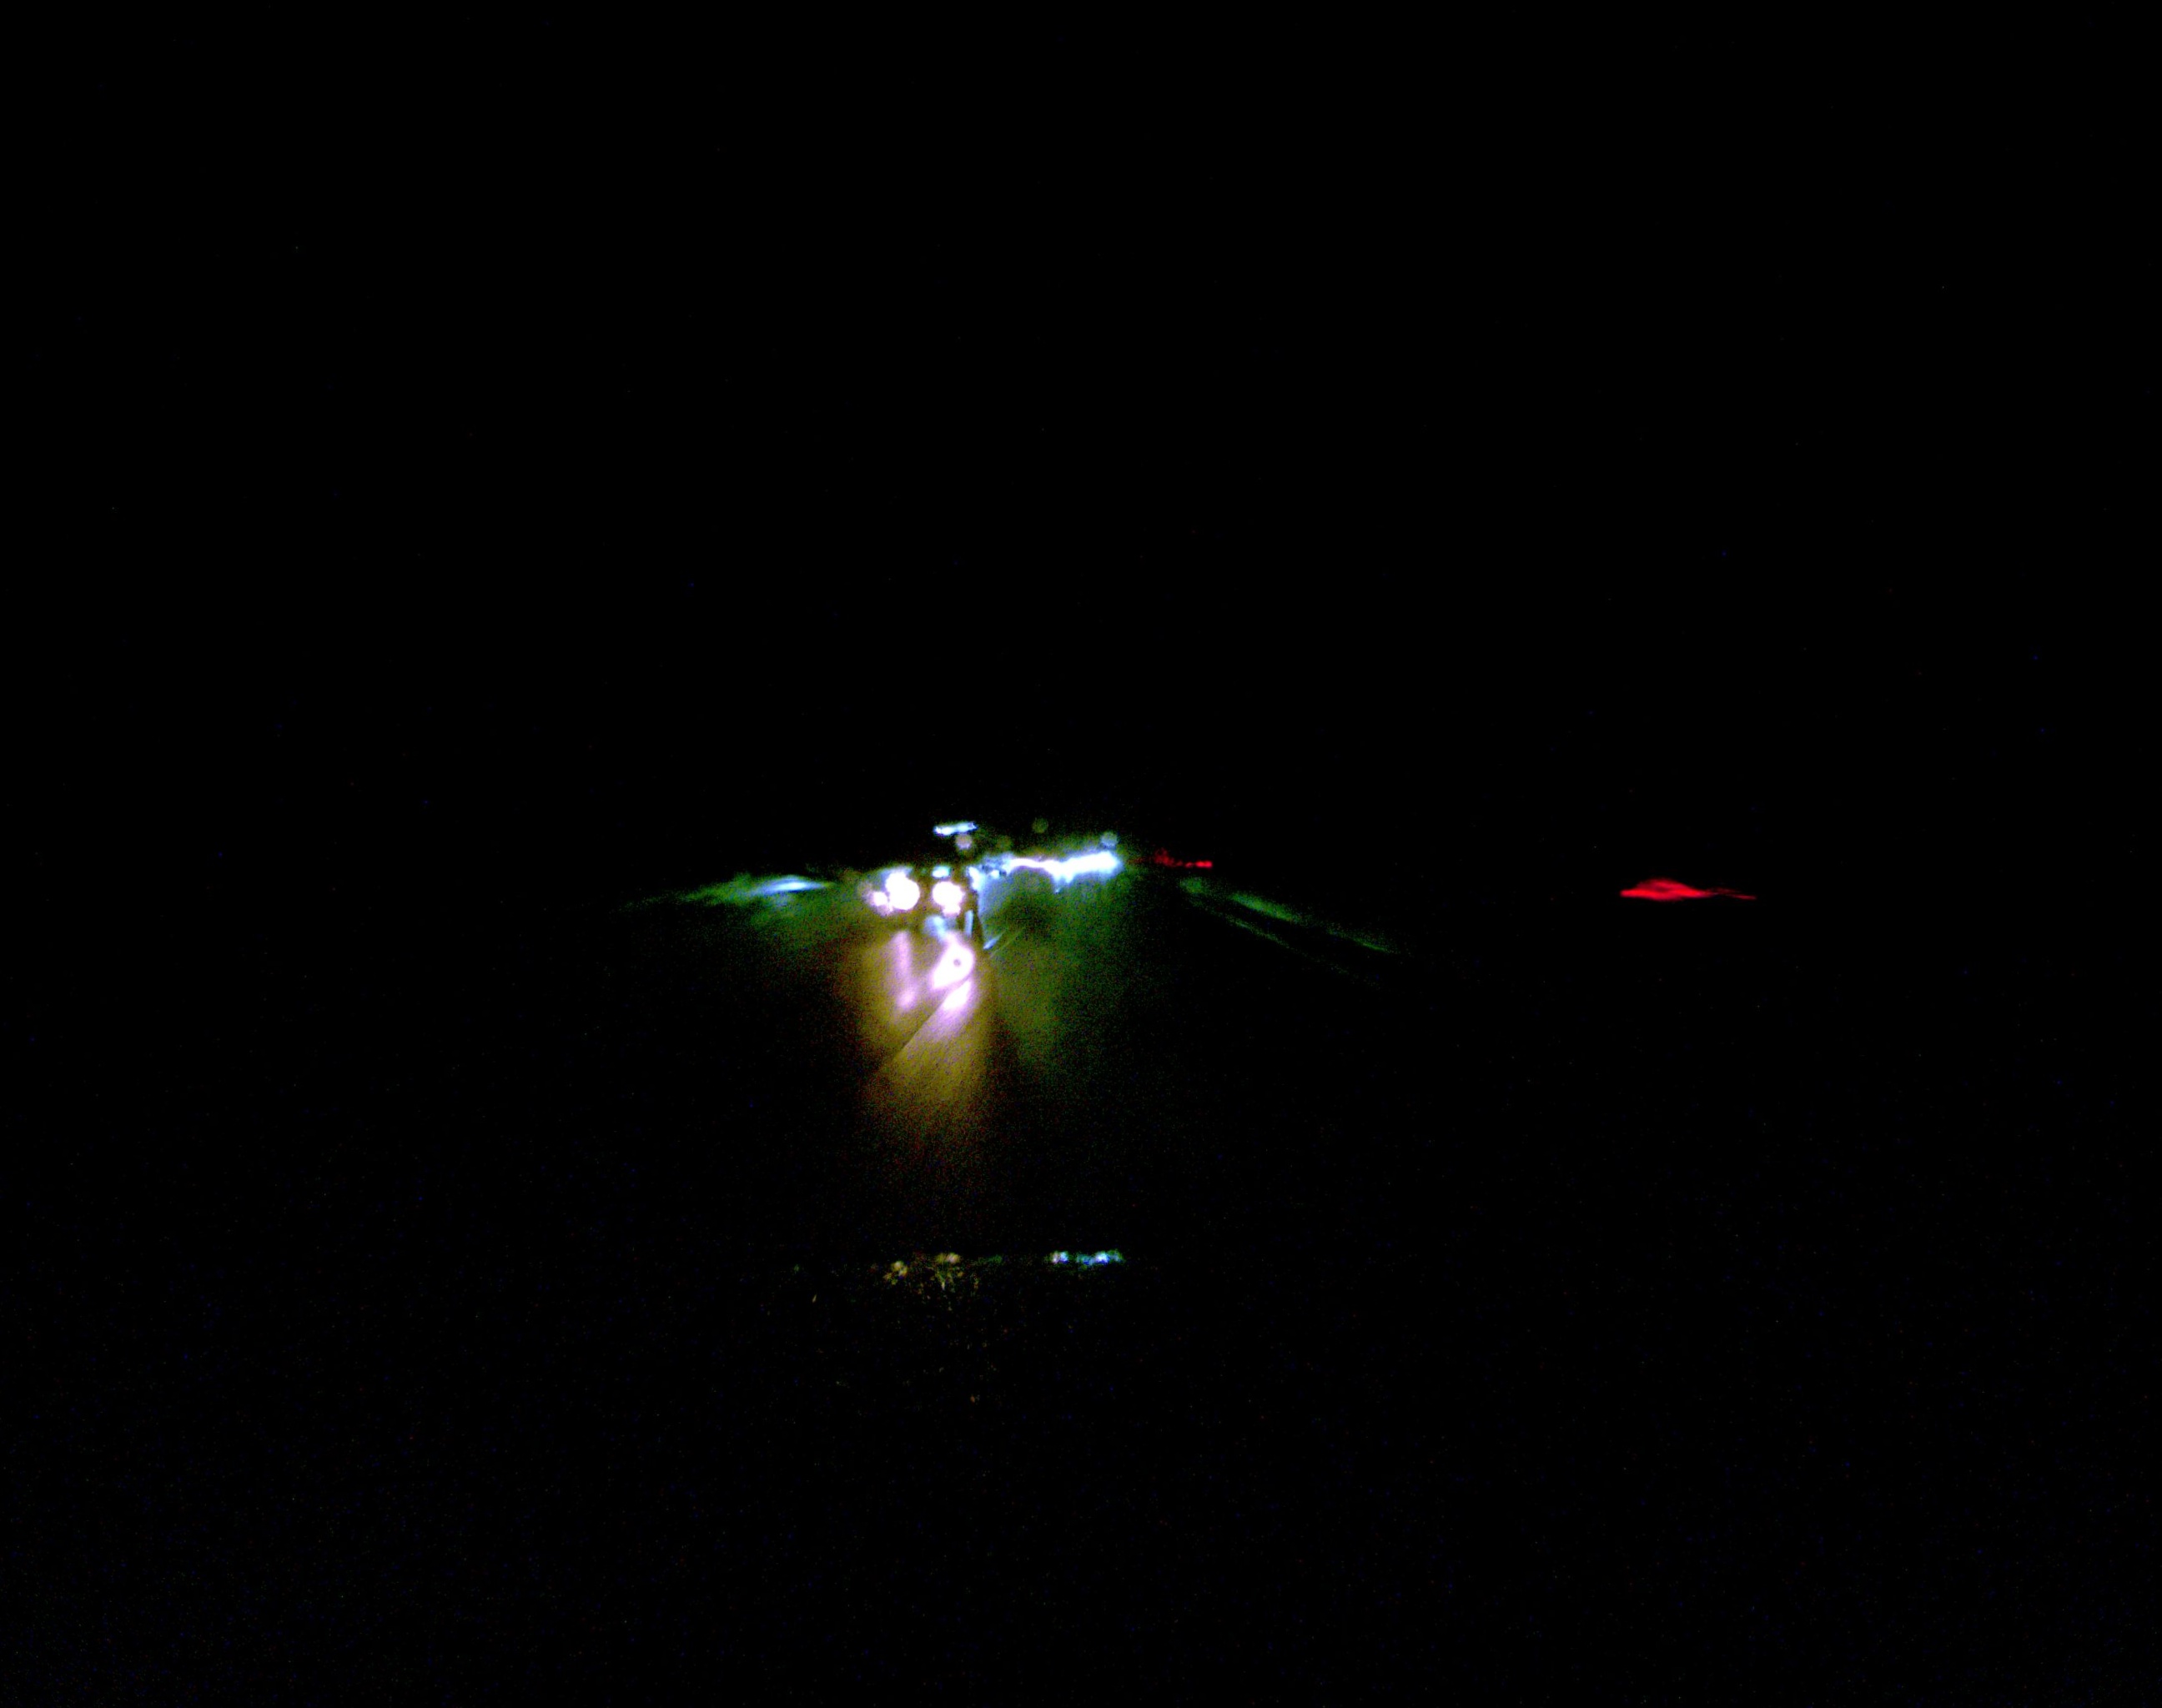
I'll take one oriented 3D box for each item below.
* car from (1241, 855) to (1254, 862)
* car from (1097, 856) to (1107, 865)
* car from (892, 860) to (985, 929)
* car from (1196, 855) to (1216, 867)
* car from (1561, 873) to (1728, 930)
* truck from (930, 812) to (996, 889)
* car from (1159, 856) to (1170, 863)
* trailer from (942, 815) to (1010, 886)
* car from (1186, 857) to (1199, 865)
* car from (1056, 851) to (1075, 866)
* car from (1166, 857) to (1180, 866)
[{"bbox_3d":[34.700,0.924,158.171,1.786,1.471,4.509,1,0,1],"label":"car"},{"bbox_3d":[3.667,1.186,132.579,1.619,1.452,3.767,-2,1,1],"label":"car"},{"bbox_3d":[-3.602,0.969,19.812,1.619,1.494,3.767,-2,1,1],"label":"car"},{"bbox_3d":[15.273,0.819,92.883,1.786,1.471,4.509,1,0,1],"label":"car"},{"bbox_3d":[16.992,1.365,23.240,1.786,1.471,4.509,1,0,1],"label":"car"},{"bbox_3d":[-6.939,-0.216,45.655,2.778,4.169,6.016,-2,1,1],"label":"truck"},{"bbox_3d":[17.444,1.094,158.746,1.786,1.471,4.509,1,0,1],"label":"car"},{"bbox_3d":[-6.876,-0.277,51.432,2.753,4.168,11.178,-2,1,1],"label":"trailer"},{"bbox_3d":[20.067,1.217,136.753,1.786,1.471,4.509,1,0,1],"label":"car"},{"bbox_3d":[-1.678,0.448,83.804,1.945,1.521,3.999,-2,1,1],"label":"car"},{"bbox_3d":[15.548,1.228,128.535,1.786,1.471,4.509,1,0,1],"label":"car"}]
